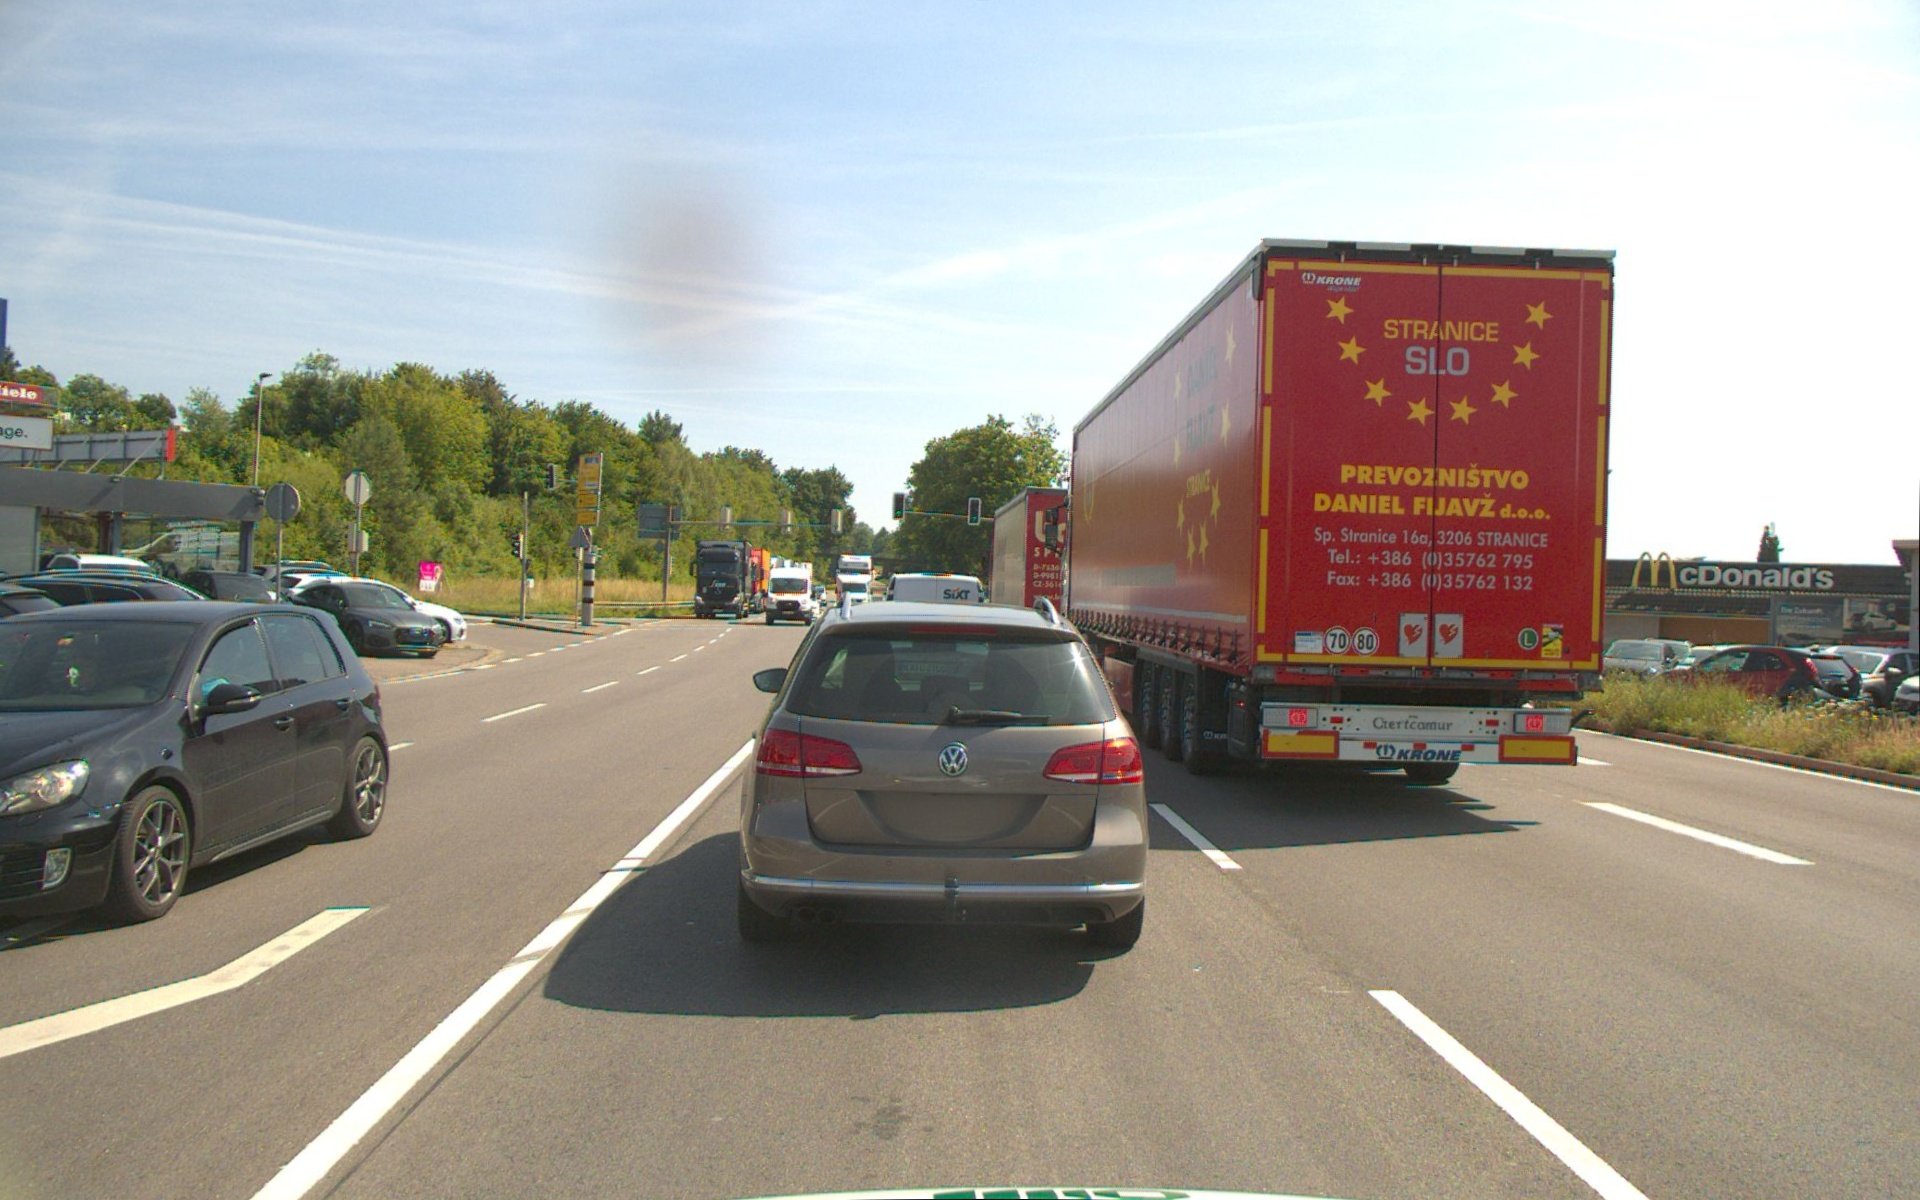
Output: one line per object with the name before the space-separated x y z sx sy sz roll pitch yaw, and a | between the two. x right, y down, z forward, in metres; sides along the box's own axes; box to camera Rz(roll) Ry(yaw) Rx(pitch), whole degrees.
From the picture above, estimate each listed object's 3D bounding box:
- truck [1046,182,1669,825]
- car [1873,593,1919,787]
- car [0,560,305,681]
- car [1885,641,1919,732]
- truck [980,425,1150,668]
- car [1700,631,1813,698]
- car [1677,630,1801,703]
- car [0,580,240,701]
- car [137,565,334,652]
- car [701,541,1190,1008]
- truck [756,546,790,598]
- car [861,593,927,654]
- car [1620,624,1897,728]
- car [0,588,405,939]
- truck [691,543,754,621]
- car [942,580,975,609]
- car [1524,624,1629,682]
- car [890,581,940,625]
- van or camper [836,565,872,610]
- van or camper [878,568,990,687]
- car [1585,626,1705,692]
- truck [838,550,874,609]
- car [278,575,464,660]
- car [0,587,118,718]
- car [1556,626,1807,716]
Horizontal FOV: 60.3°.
truck | 3.172 -0.698 19.666 2.897 4.344 16.578 1 0 -2
car | 11.593 0.960 17.342 3.787 1.954 1.688 1 0 -27
car | -12.024 0.289 24.718 3.740 1.704 1.842 1 0 -3
car | 18.484 1.579 30.185 1.965 1.558 3.976 2 0 42
truck | 2.441 -1.226 45.239 3.001 5.312 17.001 1 0 -2
car | 20.230 1.601 41.970 1.657 1.558 3.575 2 0 42
car | 18.138 1.511 38.431 1.657 1.558 3.575 2 0 42
car | -12.076 0.523 22.487 3.740 1.566 1.842 1 0 -3
car | -15.093 0.159 34.445 3.743 1.723 1.840 1 0 28
car | -0.005 0.628 7.712 1.753 1.667 3.504 0 0 2
truck | -14.440 -2.142 128.049 2.484 3.852 6.982 0 0 -5
car | -1.769 0.634 45.142 1.692 1.545 3.311 2 -1 -1
car | 13.871 1.272 28.939 1.972 1.558 3.960 2 0 -30
car | -4.402 0.670 8.727 1.632 1.434 3.926 -1 0 0
truck | -12.281 -0.911 85.952 2.757 3.852 6.983 0 0 -4
car | -0.096 -0.315 94.238 1.692 1.545 3.310 2 -1 -2
car | 17.690 1.497 47.393 1.734 1.558 3.246 2 0 42
car | -1.621 0.131 60.843 1.691 1.545 3.312 1 -1 0
van or camper | -7.169 -0.817 112.850 2.179 2.890 5.708 1 -1 -2
van or camper | -0.492 0.445 29.311 1.815 1.939 3.783 1 0 -2
car | 17.554 1.475 42.293 1.738 1.558 3.608 2 0 42
truck | -7.953 -1.535 127.550 2.501 4.383 7.593 0 0 -2
car | -12.841 0.342 35.939 2.116 1.723 4.453 0 0 -45
car | -12.340 0.577 19.609 3.740 1.473 1.842 1 0 -3
car | 13.963 1.322 32.123 4.124 1.480 1.836 2 0 41
